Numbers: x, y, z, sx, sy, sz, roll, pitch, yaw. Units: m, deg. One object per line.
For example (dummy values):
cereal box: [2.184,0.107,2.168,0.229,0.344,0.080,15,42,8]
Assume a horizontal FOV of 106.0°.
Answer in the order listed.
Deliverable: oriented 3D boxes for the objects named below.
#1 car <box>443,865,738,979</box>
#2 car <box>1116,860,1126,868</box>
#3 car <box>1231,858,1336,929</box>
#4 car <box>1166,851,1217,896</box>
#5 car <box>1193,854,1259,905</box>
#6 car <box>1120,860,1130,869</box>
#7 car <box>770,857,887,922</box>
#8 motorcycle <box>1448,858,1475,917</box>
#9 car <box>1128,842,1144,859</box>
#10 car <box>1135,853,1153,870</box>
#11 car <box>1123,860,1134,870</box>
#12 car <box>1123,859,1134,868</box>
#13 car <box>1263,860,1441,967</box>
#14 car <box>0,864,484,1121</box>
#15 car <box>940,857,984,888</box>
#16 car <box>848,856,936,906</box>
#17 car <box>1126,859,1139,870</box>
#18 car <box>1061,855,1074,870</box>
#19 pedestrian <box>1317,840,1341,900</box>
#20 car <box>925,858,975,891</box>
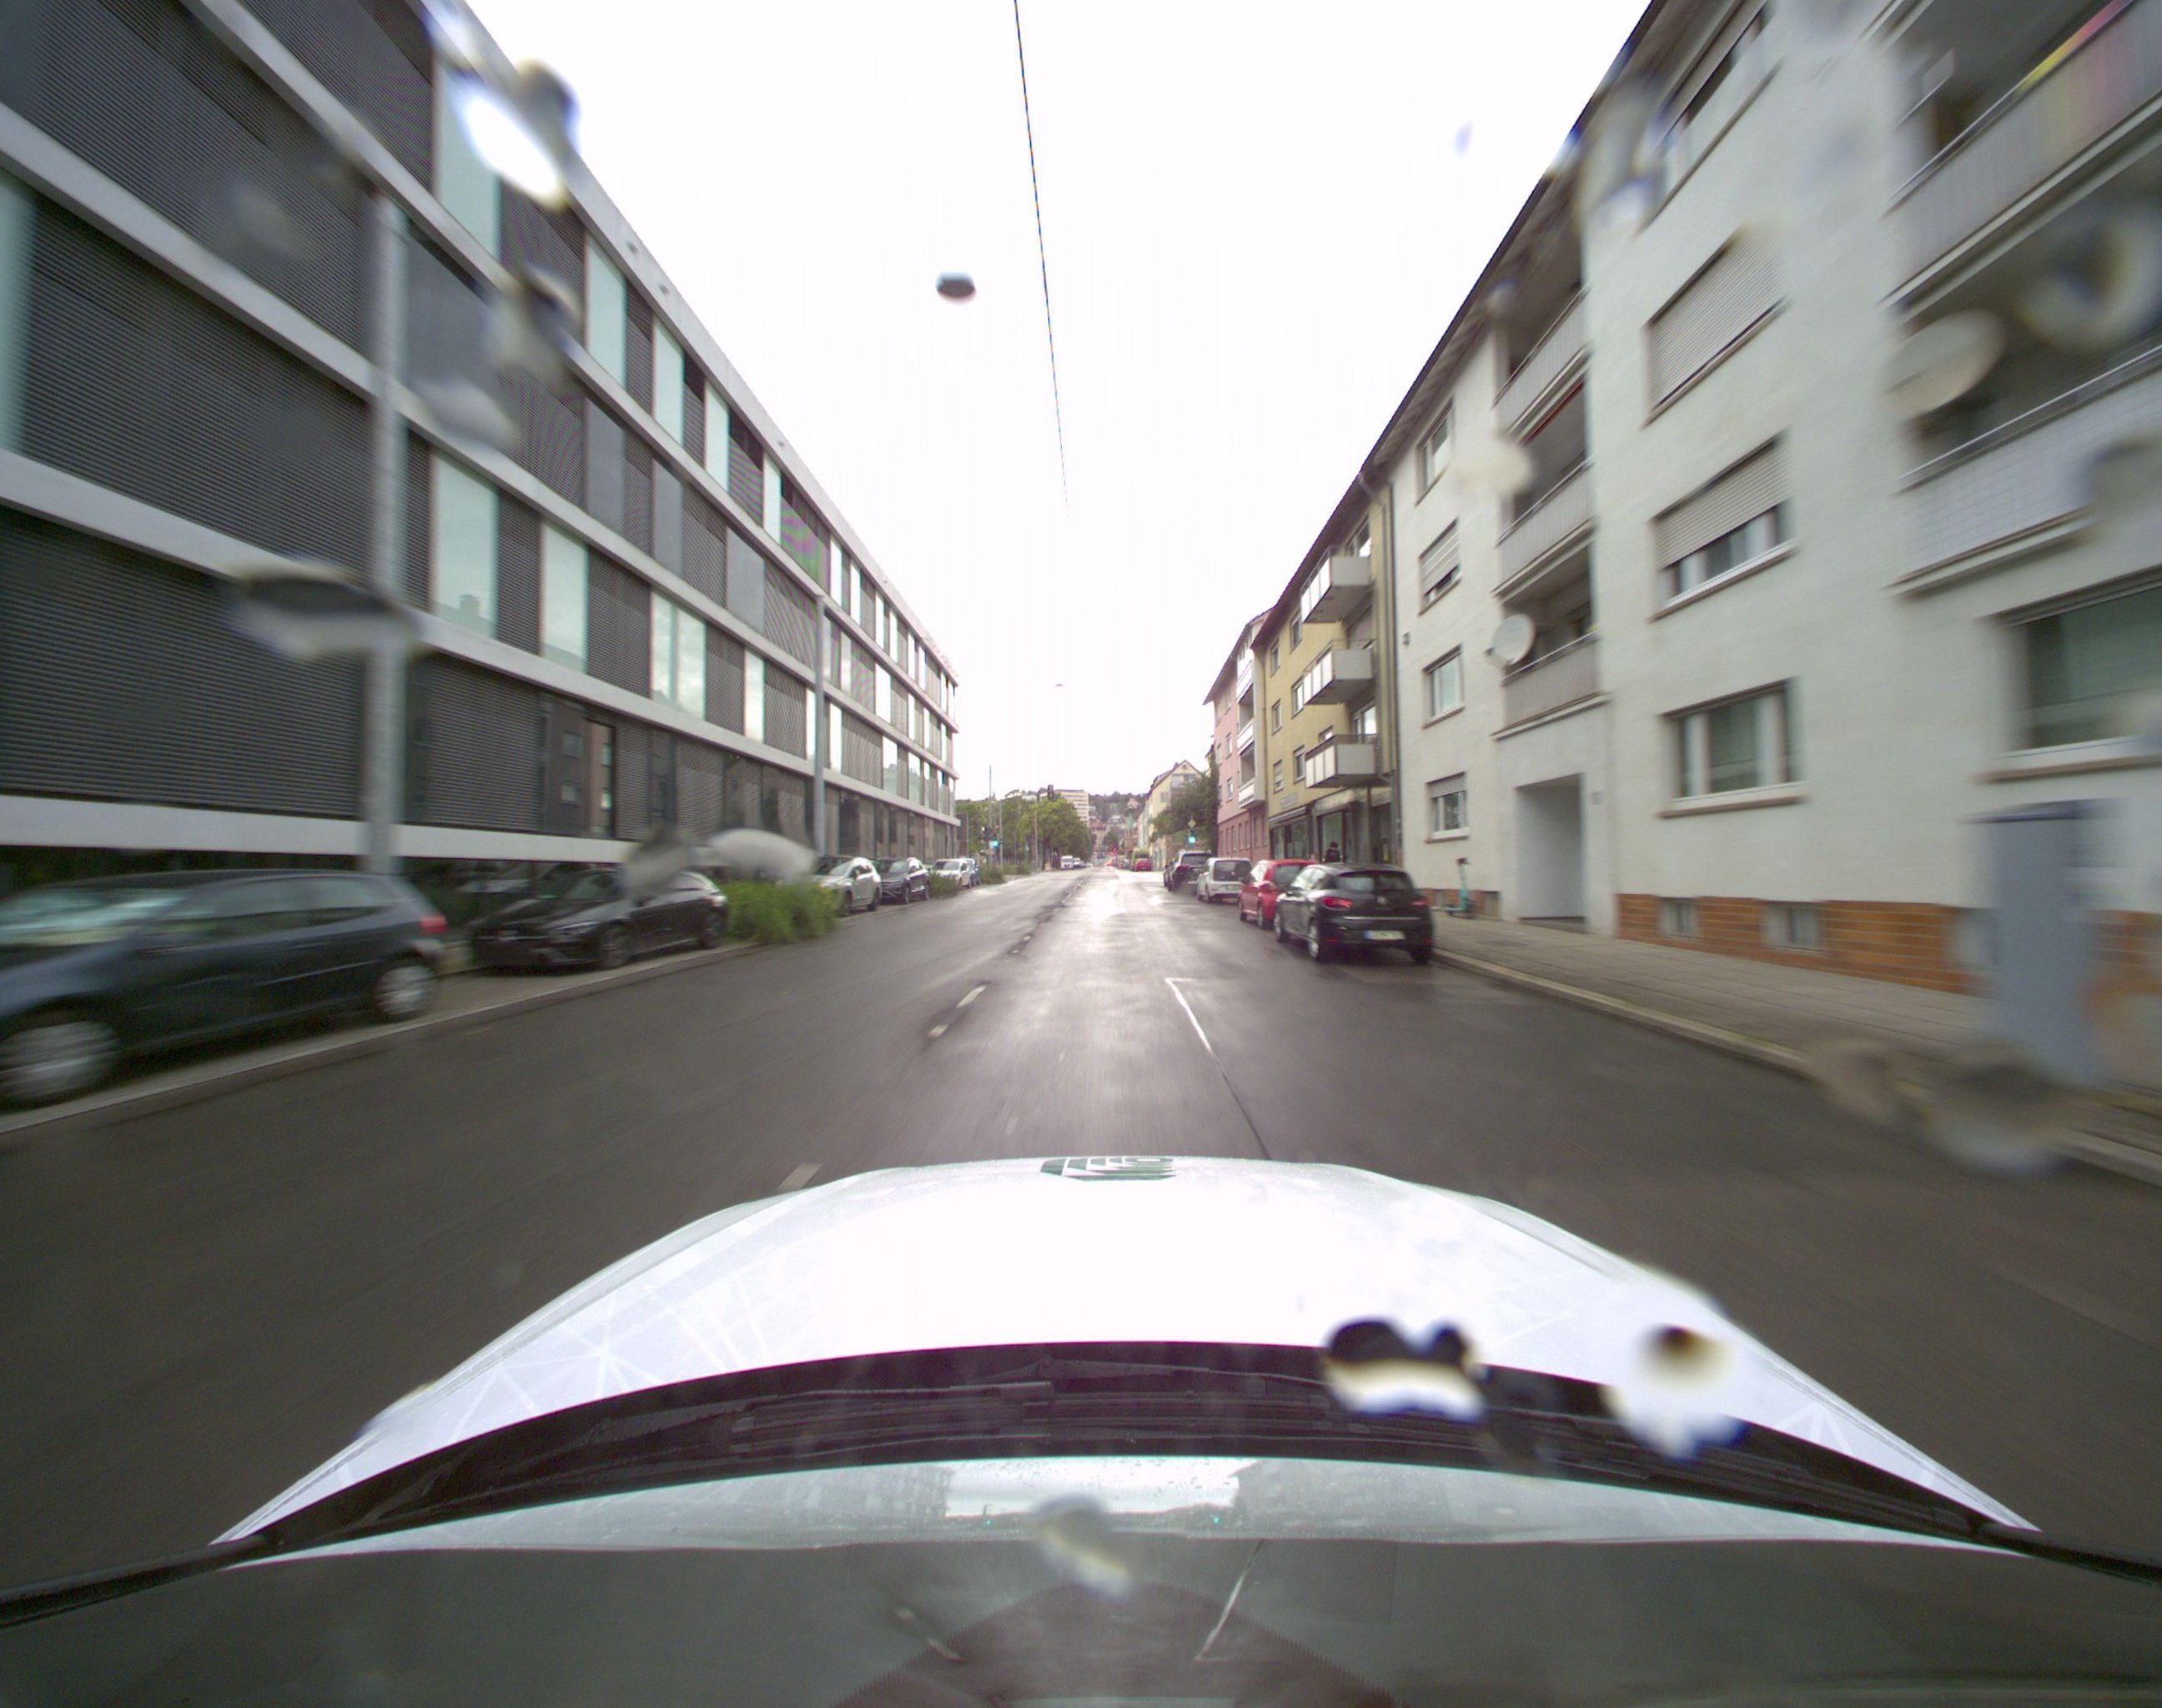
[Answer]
car: [-7.324,0.914,12.814,1.830,1.396,4.395,0,0,2]
car: [7.970,1.932,163.823,1.858,1.604,4.194,0,0,5]
car: [4.518,0.828,18.618,1.576,1.413,3.655,0,0,1]
car: [4.541,0.759,33.998,1.649,1.737,4.181,0,1,1]
car: [4.783,0.794,27.307,1.629,1.571,3.712,0,0,1]
car: [8.370,1.962,155.639,1.858,1.604,4.194,0,0,5]
car: [-6.833,0.892,22.559,1.764,1.534,4.318,0,1,2]
motorcycle: [7.799,0.674,16.706,0.251,1.165,0.782,0,0,5]
car: [6.420,-0.391,94.743,1.858,1.973,4.194,0,0,5]
car: [6.622,0.767,85.583,1.858,1.770,4.194,0,0,5]
car: [8.198,1.849,140.275,1.858,1.604,4.194,0,0,5]
car: [8.454,1.735,145.309,1.858,1.604,4.194,0,0,5]
car: [4.238,0.844,13.401,1.700,1.454,3.986,0,0,1]
car: [-7.442,0.868,6.613,1.856,1.489,4.349,0,0,2]
car: [-6.505,0.992,44.894,1.861,1.525,4.196,0,1,-1]
car: [-6.536,0.878,28.639,1.793,1.604,4.239,0,0,5]
car: [7.708,1.549,120.915,1.858,1.604,4.194,0,0,5]
car: [-2.290,1.403,141.414,2.098,2.546,4.749,0,0,0]
pedestrian: [7.909,0.500,25.982,0.636,1.870,0.539,0,0,3]
car: [-6.312,0.957,39.563,1.588,1.459,3.722,0,1,3]
